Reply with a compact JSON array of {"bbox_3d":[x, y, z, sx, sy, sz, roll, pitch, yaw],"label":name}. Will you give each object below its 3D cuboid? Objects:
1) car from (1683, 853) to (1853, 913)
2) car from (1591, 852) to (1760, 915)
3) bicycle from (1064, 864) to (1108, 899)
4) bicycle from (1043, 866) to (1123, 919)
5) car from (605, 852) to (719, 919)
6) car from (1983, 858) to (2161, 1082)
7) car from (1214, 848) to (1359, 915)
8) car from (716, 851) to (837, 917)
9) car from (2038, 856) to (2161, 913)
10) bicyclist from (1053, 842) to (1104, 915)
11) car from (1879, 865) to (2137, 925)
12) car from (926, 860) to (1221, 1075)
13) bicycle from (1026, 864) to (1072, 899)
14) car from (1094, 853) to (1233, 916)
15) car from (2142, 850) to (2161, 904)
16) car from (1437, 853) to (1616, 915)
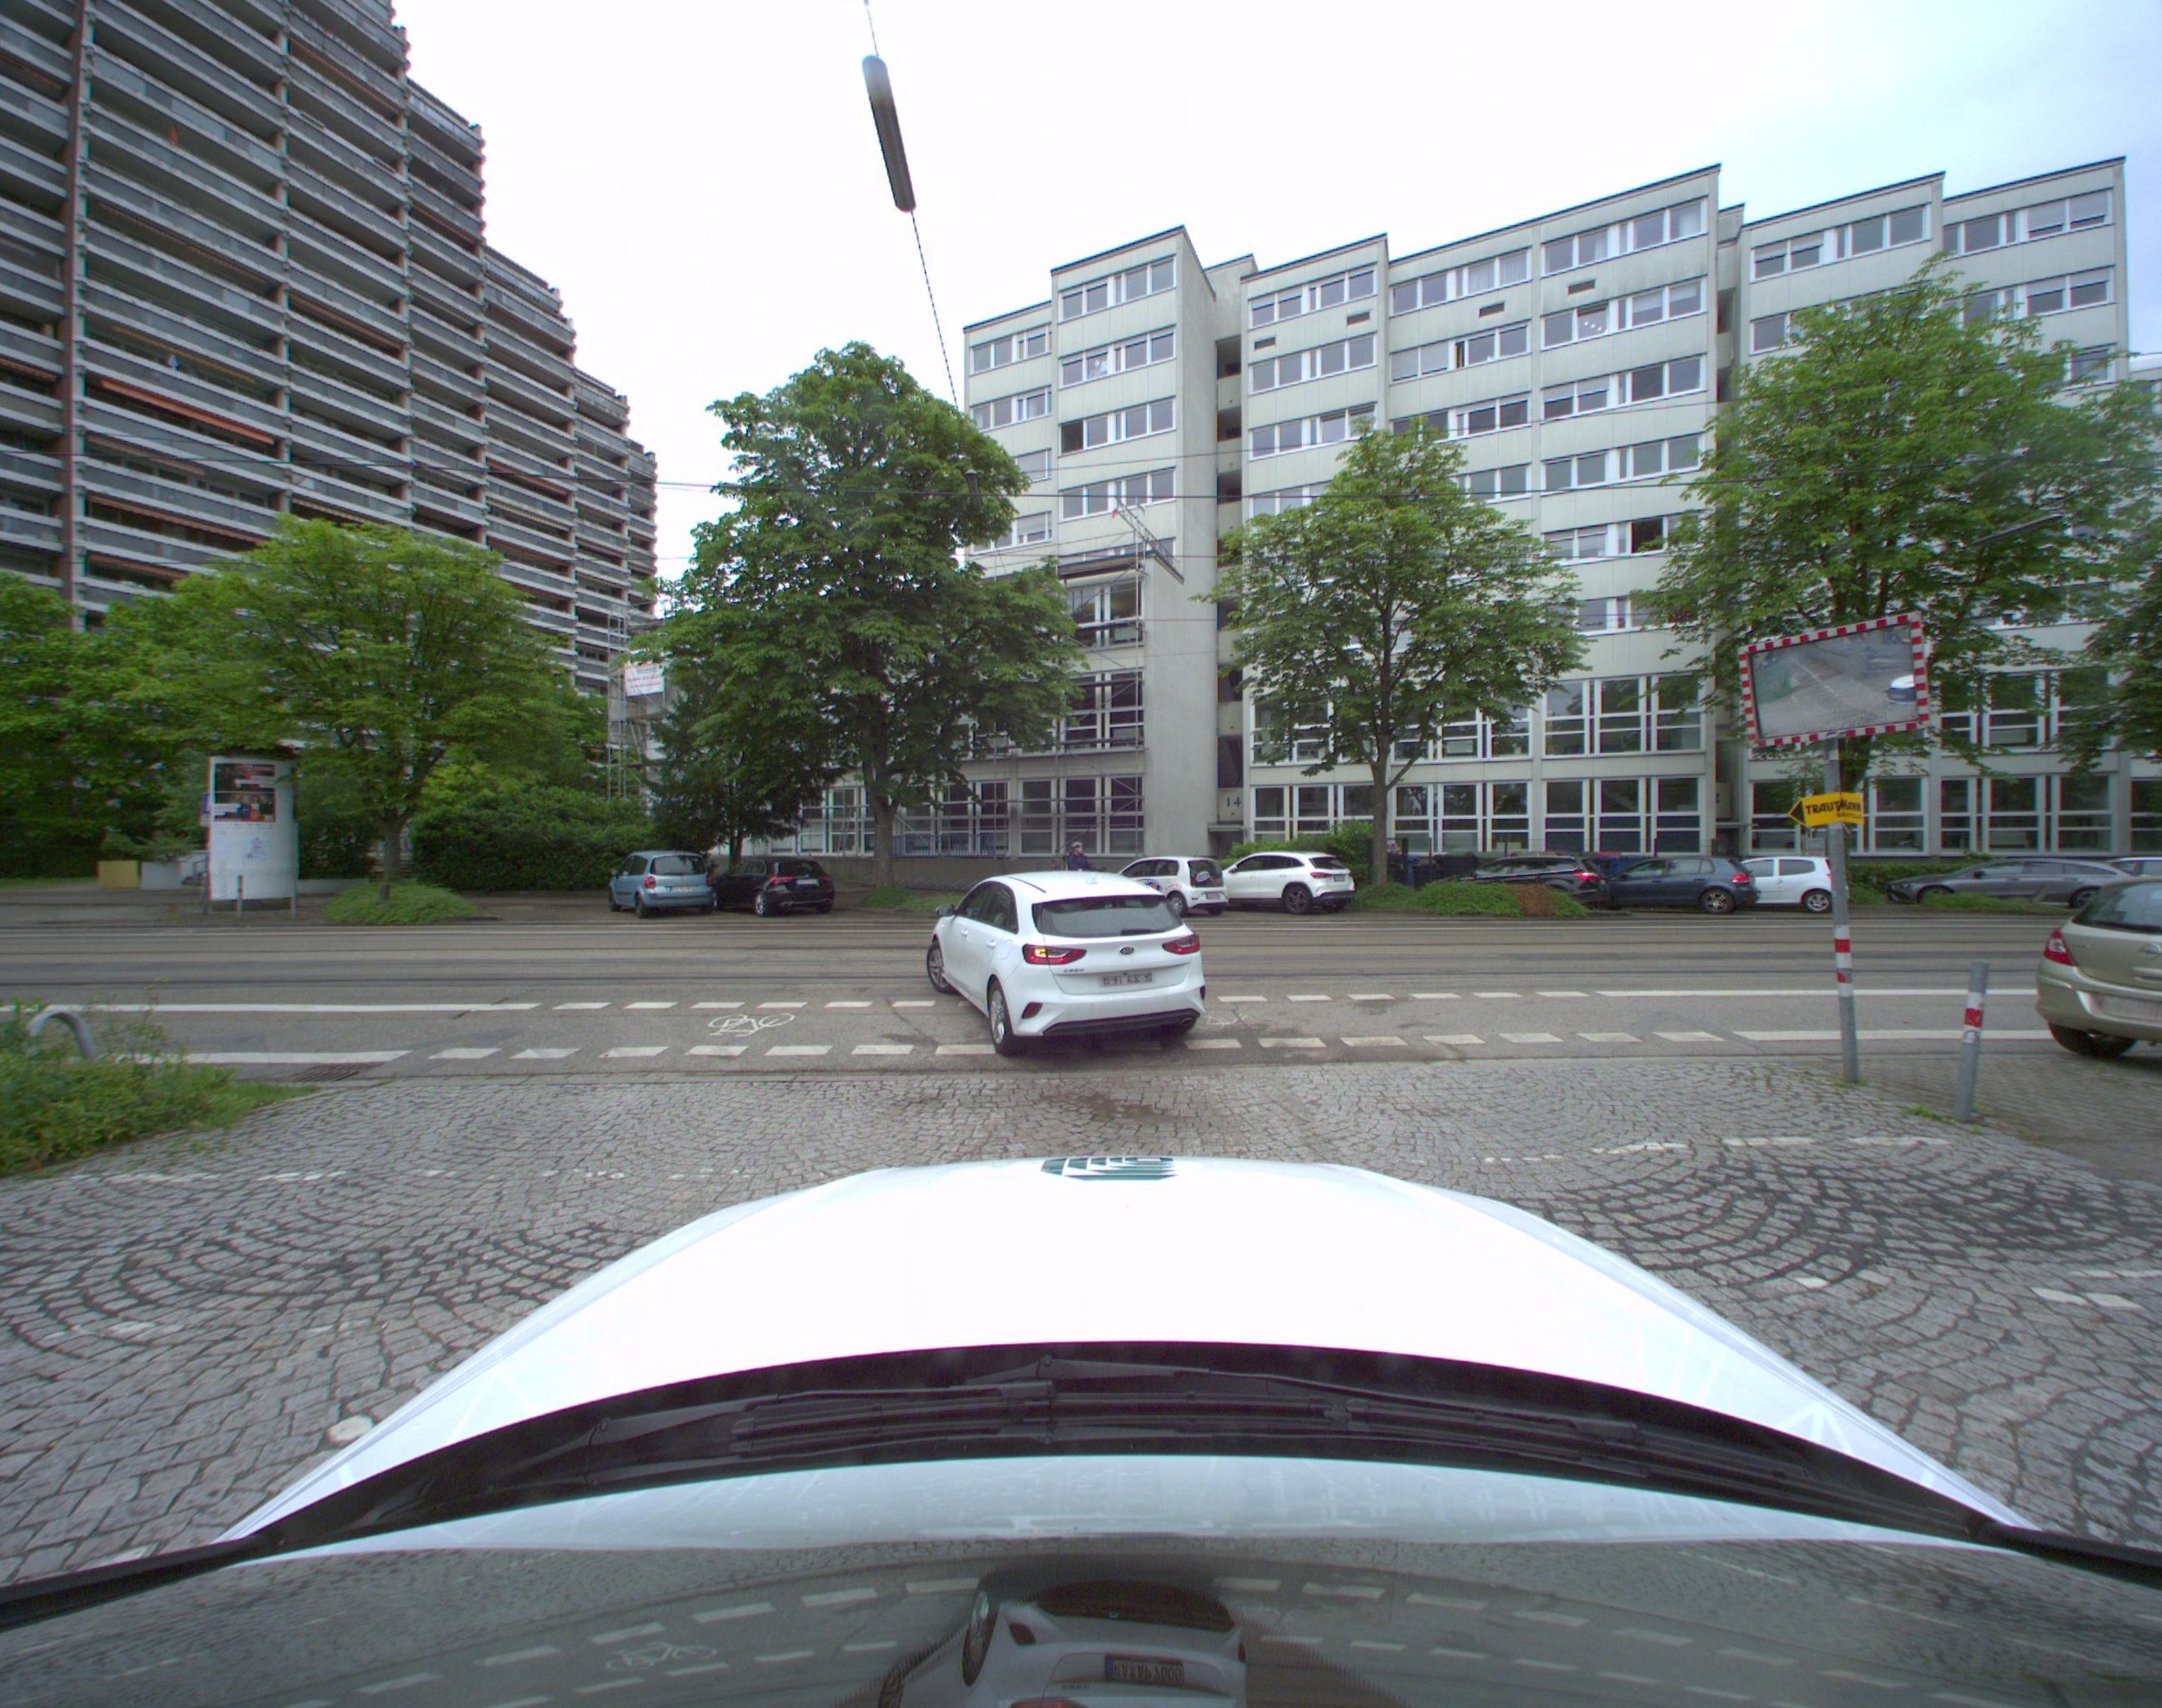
[{"bbox_3d":[18.338,0.732,21.820,1.425,1.473,3.348,-1,0,-45],"label":"car"},{"bbox_3d":[15.371,0.724,21.160,1.425,1.473,3.348,-1,0,-45],"label":"car"},{"bbox_3d":[0.183,0.872,26.848,0.638,1.075,2.324,0,0,22],"label":"bicycle"},{"bbox_3d":[0.020,0.892,19.421,0.826,1.174,1.892,0,0,-44],"label":"bicycle"},{"bbox_3d":[-10.616,0.735,20.532,3.295,1.537,1.628,0,0,45],"label":"car"},{"bbox_3d":[9.082,0.779,5.757,3.569,1.500,1.666,0,0,1],"label":"car"},{"bbox_3d":[5.306,0.678,21.334,1.565,1.618,3.367,-1,0,-42],"label":"car"},{"bbox_3d":[-7.717,0.717,20.498,3.295,1.511,1.628,-1,0,45],"label":"car"},{"bbox_3d":[28.427,0.797,21.923,1.425,1.473,3.348,0,0,-45],"label":"car"},{"bbox_3d":[-0.066,0.566,19.515,0.839,1.698,0.886,0,0,-43],"label":"bicyclist"},{"bbox_3d":[24.909,1.077,22.163,4.441,1.474,1.425,-1,-3,41],"label":"car"},{"bbox_3d":[-0.352,0.865,8.234,1.781,1.432,3.953,-2,2,-20],"label":"car"},{"bbox_3d":[-1.042,0.893,27.368,0.638,1.075,2.324,0,0,22],"label":"bicycle"},{"bbox_3d":[2.073,0.737,20.992,1.565,1.473,3.367,-1,0,-42],"label":"car"},{"bbox_3d":[31.495,0.630,21.955,1.425,1.473,3.348,-1,0,-45],"label":"car"},{"bbox_3d":[11.817,0.757,21.733,3.904,1.473,1.684,-1,0,42],"label":"car"}]
